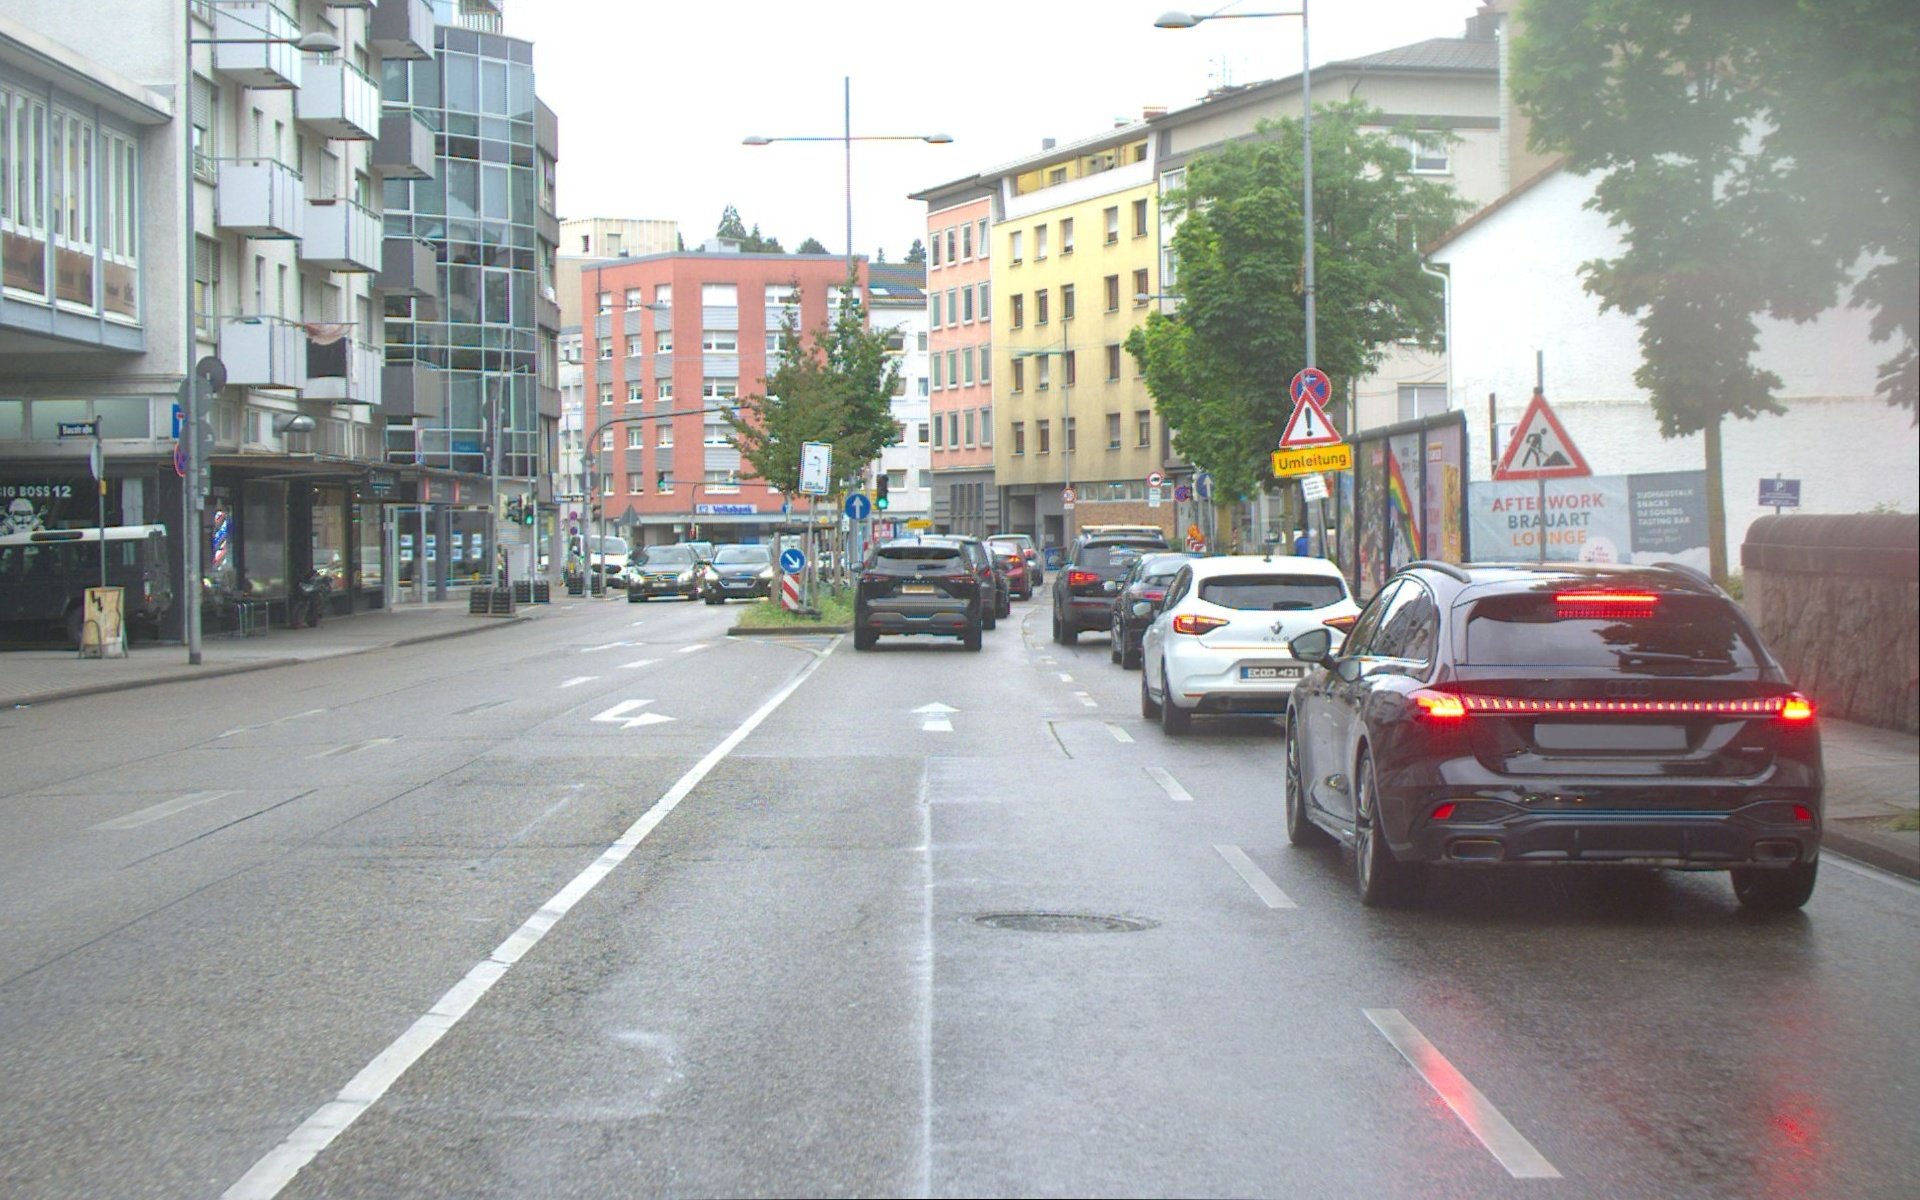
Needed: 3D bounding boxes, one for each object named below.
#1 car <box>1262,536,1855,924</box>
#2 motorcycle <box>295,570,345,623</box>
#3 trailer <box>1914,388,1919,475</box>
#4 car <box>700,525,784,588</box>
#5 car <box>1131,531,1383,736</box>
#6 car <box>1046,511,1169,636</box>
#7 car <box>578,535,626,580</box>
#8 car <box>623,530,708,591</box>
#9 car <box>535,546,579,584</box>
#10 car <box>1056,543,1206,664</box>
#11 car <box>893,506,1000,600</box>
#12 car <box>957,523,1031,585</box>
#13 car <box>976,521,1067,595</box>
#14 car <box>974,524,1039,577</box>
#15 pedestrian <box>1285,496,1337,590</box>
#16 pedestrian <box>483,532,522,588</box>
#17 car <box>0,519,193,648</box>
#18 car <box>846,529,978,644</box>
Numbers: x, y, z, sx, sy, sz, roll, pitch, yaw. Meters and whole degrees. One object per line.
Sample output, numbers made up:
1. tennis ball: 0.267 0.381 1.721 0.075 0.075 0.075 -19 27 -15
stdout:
1. car: 2.520 0.460 15.617 1.789 1.398 4.634 -2 1 -1
2. motorcycle: -12.516 -0.081 67.314 0.525 0.992 2.136 0 1 2
3. trailer: 15.193 -1.771 48.243 2.127 2.707 5.391 -4 2 2
4. car: -5.435 -1.107 86.105 1.720 1.418 4.165 -4 1 0
5. car: 2.393 0.223 28.543 1.665 1.391 3.867 -4 2 0
6. car: 2.249 -0.440 52.926 1.830 1.799 3.719 0 2 2
7. car: -12.806 -1.520 122.883 1.549 1.565 3.349 0 1 -9
8. car: -7.847 -1.076 92.064 1.708 1.463 4.829 -4 1 1
9. car: -15.786 -1.386 134.607 1.455 1.425 3.371 0 2 -11
10. car: 2.176 0.014 43.125 1.787 1.395 3.718 -1 1 4
11. car: -0.208 -0.840 60.507 1.823 1.595 3.719 0 1 1
12. car: 0.818 -1.134 83.807 1.641 1.376 3.348 -3 1 -1
13. car: 1.226 -0.859 69.549 1.641 1.376 3.348 -3 1 -1
14. car: 1.277 -1.390 96.241 1.641 1.376 3.348 -3 1 -1
15. pedestrian: 6.738 -1.102 65.964 0.792 1.749 0.871 -3 1 14
16. pedestrian: -13.351 -1.168 100.397 0.781 1.585 0.763 -4 1 -36
17. car: -14.986 -0.276 57.340 3.963 2.027 1.580 -2 1 0
18. car: -0.662 -0.230 50.000 1.823 1.595 3.719 0 1 1
